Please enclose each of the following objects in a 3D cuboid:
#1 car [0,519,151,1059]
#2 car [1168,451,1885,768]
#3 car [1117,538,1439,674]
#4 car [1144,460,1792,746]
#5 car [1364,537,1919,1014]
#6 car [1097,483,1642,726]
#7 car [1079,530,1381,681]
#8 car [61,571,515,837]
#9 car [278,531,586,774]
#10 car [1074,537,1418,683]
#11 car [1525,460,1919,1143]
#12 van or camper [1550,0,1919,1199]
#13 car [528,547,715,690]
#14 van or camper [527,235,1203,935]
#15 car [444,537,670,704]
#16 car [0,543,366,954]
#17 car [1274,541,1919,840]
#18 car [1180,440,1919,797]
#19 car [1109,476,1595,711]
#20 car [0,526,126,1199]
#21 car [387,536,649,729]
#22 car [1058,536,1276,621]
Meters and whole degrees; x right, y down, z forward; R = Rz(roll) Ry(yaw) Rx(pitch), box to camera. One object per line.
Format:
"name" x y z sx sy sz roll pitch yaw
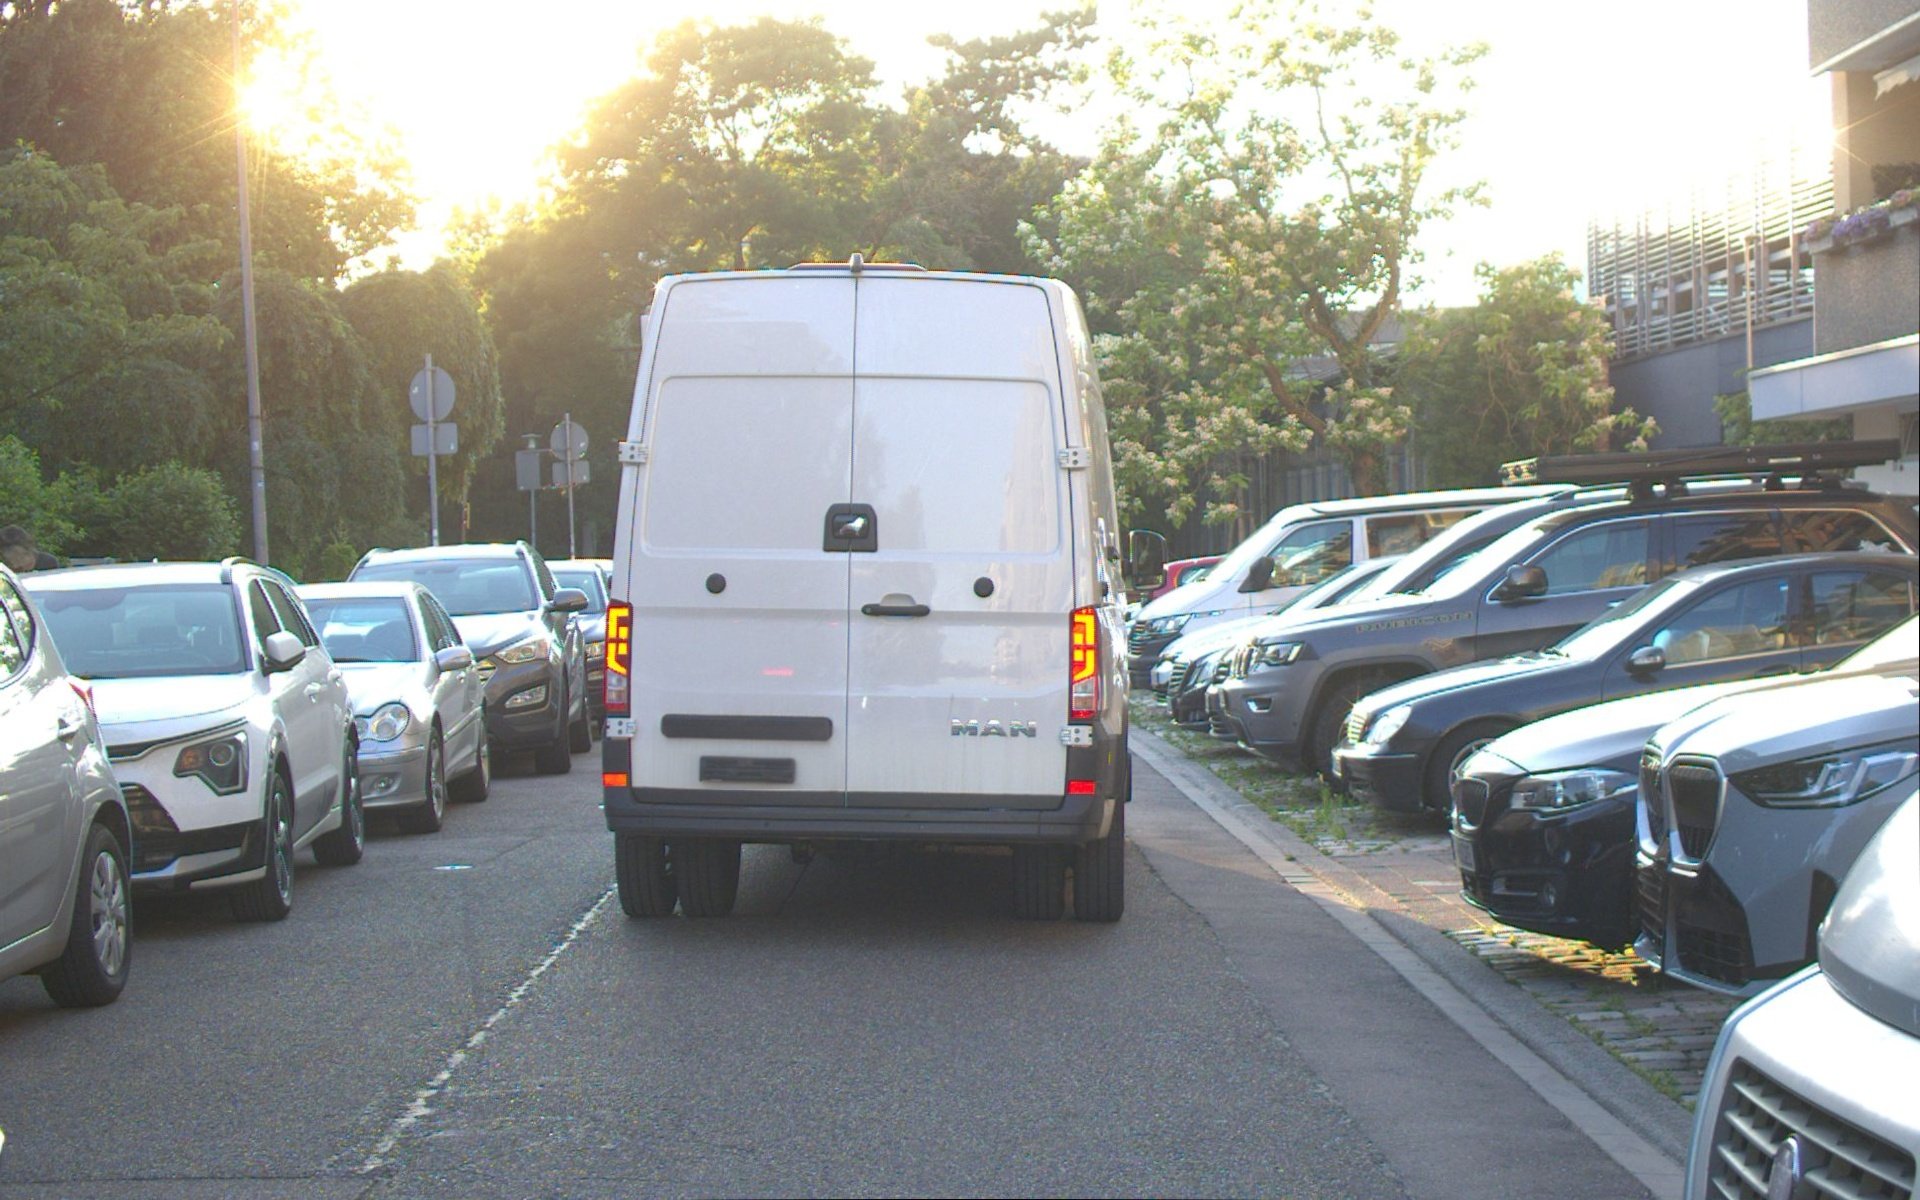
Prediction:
"car" -3.822 0.619 10.098 1.783 1.625 4.000 -3 1 1
"car" 3.920 0.043 24.369 4.705 2.138 2.000 0 1 -2
"car" 4.080 0.065 44.571 3.987 1.722 2.000 0 1 0
"car" 3.872 0.002 26.796 4.705 2.138 2.000 0 1 -2
"car" 3.649 0.506 12.439 3.986 1.449 1.836 -4 1 -4
"car" 3.678 0.019 31.475 4.705 2.138 2.000 0 1 -2
"car" 3.639 0.058 46.890 3.987 2.007 2.000 0 1 1
"car" -3.875 0.541 20.500 1.993 1.393 4.000 0 1 -1
"car" -3.846 0.327 25.647 1.993 1.656 4.001 0 1 -5
"car" 3.403 0.105 41.529 3.987 1.722 2.000 0 1 0
"car" 4.058 0.427 9.884 4.433 1.722 1.773 -2 1 -7
"van or camper" 3.920 0.015 4.420 5.928 2.760 2.110 0 1 -1
"car" -3.971 0.180 40.887 1.993 1.612 4.001 0 1 -2
"van or camper" -0.240 -0.107 15.681 2.454 2.538 6.083 1 1 2
"car" -4.059 0.164 35.166 1.993 1.612 4.001 0 1 -2
"car" -3.843 0.561 15.328 1.856 1.549 4.100 -2 1 -4
"car" 3.981 0.453 19.049 4.236 1.420 1.719 -3 1 -1
"car" 3.830 0.088 21.669 4.705 2.138 2.000 0 1 -2
"car" 3.769 -0.080 33.659 4.495 2.223 2.032 0 1 -1
"car" -2.566 0.720 3.604 1.805 1.564 4.564 -1 1 7
"car" -3.888 0.236 30.855 1.993 1.612 4.001 0 1 -2
"car" 3.997 -0.424 66.843 3.986 1.612 2.000 0 1 -4
